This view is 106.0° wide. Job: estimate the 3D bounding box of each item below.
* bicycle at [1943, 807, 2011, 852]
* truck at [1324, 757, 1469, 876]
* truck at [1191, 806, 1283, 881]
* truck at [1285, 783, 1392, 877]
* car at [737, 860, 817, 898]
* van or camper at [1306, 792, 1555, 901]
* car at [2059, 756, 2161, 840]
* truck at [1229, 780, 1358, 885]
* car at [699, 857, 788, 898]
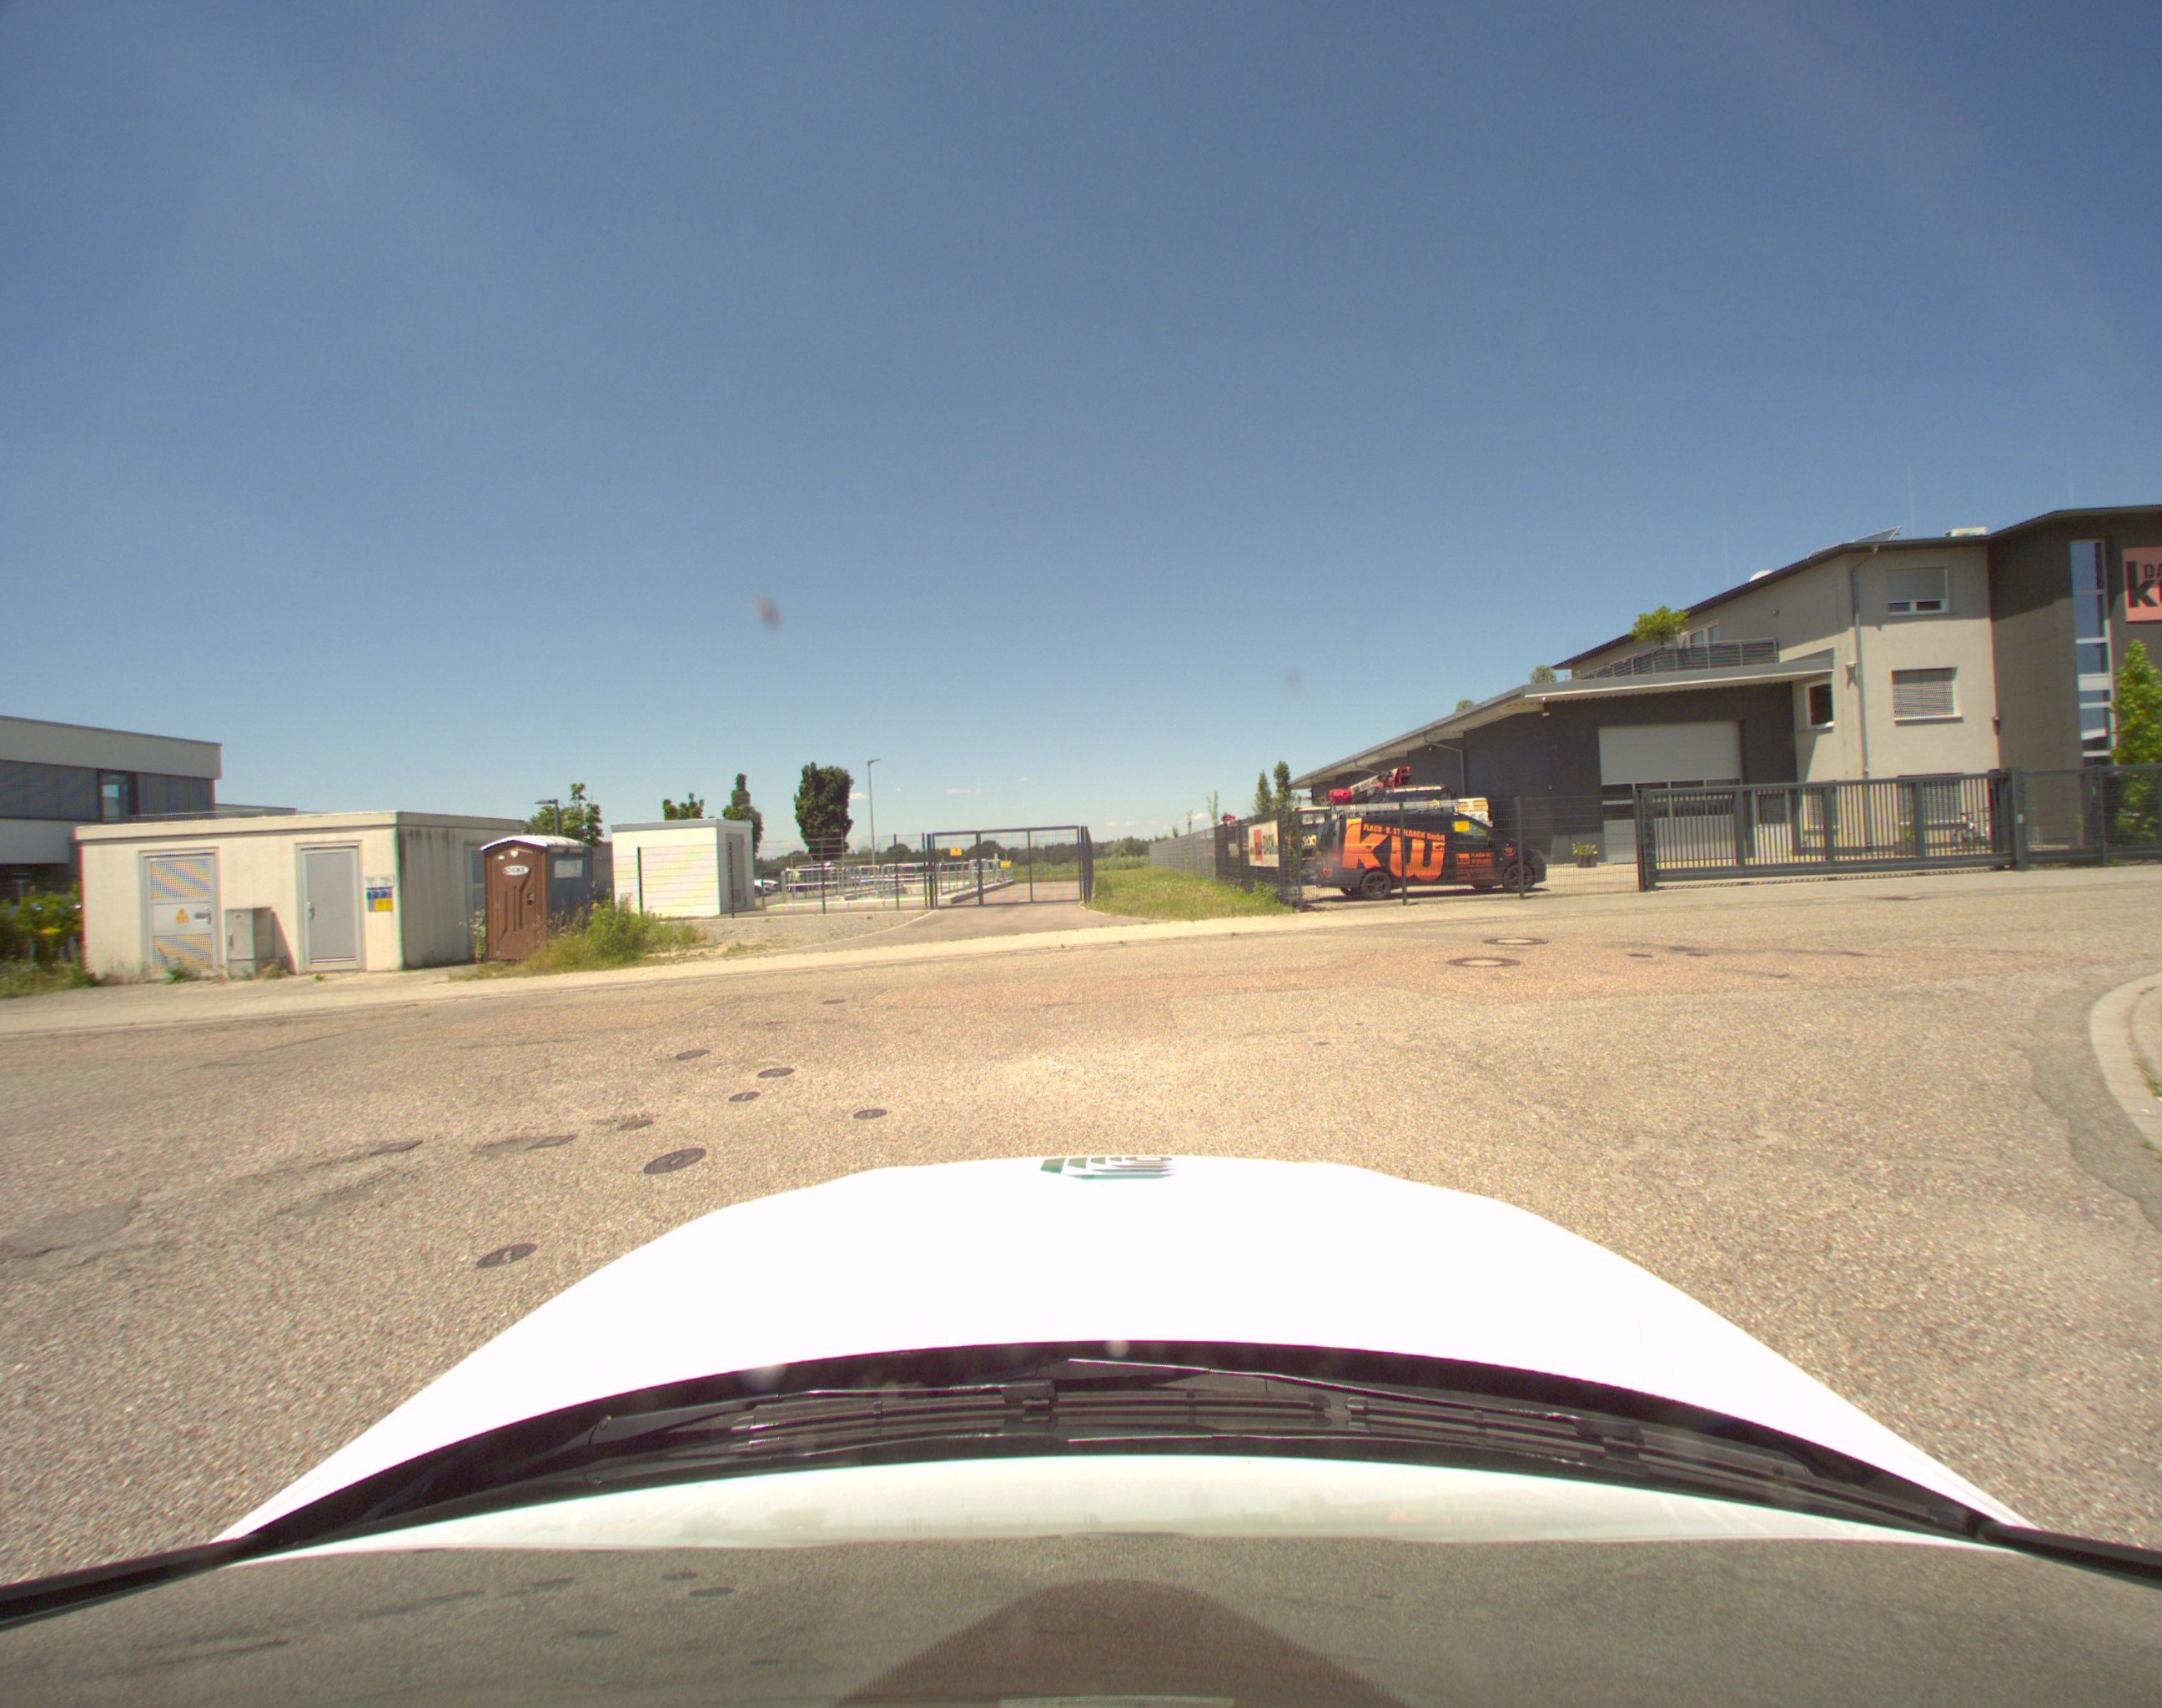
[{"bbox_3d":[25.953,-0.709,23.589,1.803,1.185,0.442,-3,0,-13],"label":"bicycle"},{"bbox_3d":[11.870,-1.277,31.429,2.910,3.929,6.938,-3,0,2],"label":"truck"},{"bbox_3d":[6.909,-0.418,37.124,2.910,2.938,6.938,-3,0,2],"label":"truck"},{"bbox_3d":[12.060,-1.050,38.908,2.910,3.929,6.938,-3,0,2],"label":"truck"},{"bbox_3d":[-18.411,1.498,49.465,3.971,2.013,2.001,-3,0,2],"label":"car"},{"bbox_3d":[8.014,-0.174,19.041,4.918,2.163,2.001,-3,1,1],"label":"van or camper"},{"bbox_3d":[26.438,-1.395,19.296,3.972,1.867,2.001,-3,0,2],"label":"car"},{"bbox_3d":[7.091,-0.640,28.287,2.716,3.061,6.938,-3,0,2],"label":"truck"},{"bbox_3d":[-18.832,1.312,45.561,3.971,2.013,2.001,-3,0,2],"label":"car"}]
